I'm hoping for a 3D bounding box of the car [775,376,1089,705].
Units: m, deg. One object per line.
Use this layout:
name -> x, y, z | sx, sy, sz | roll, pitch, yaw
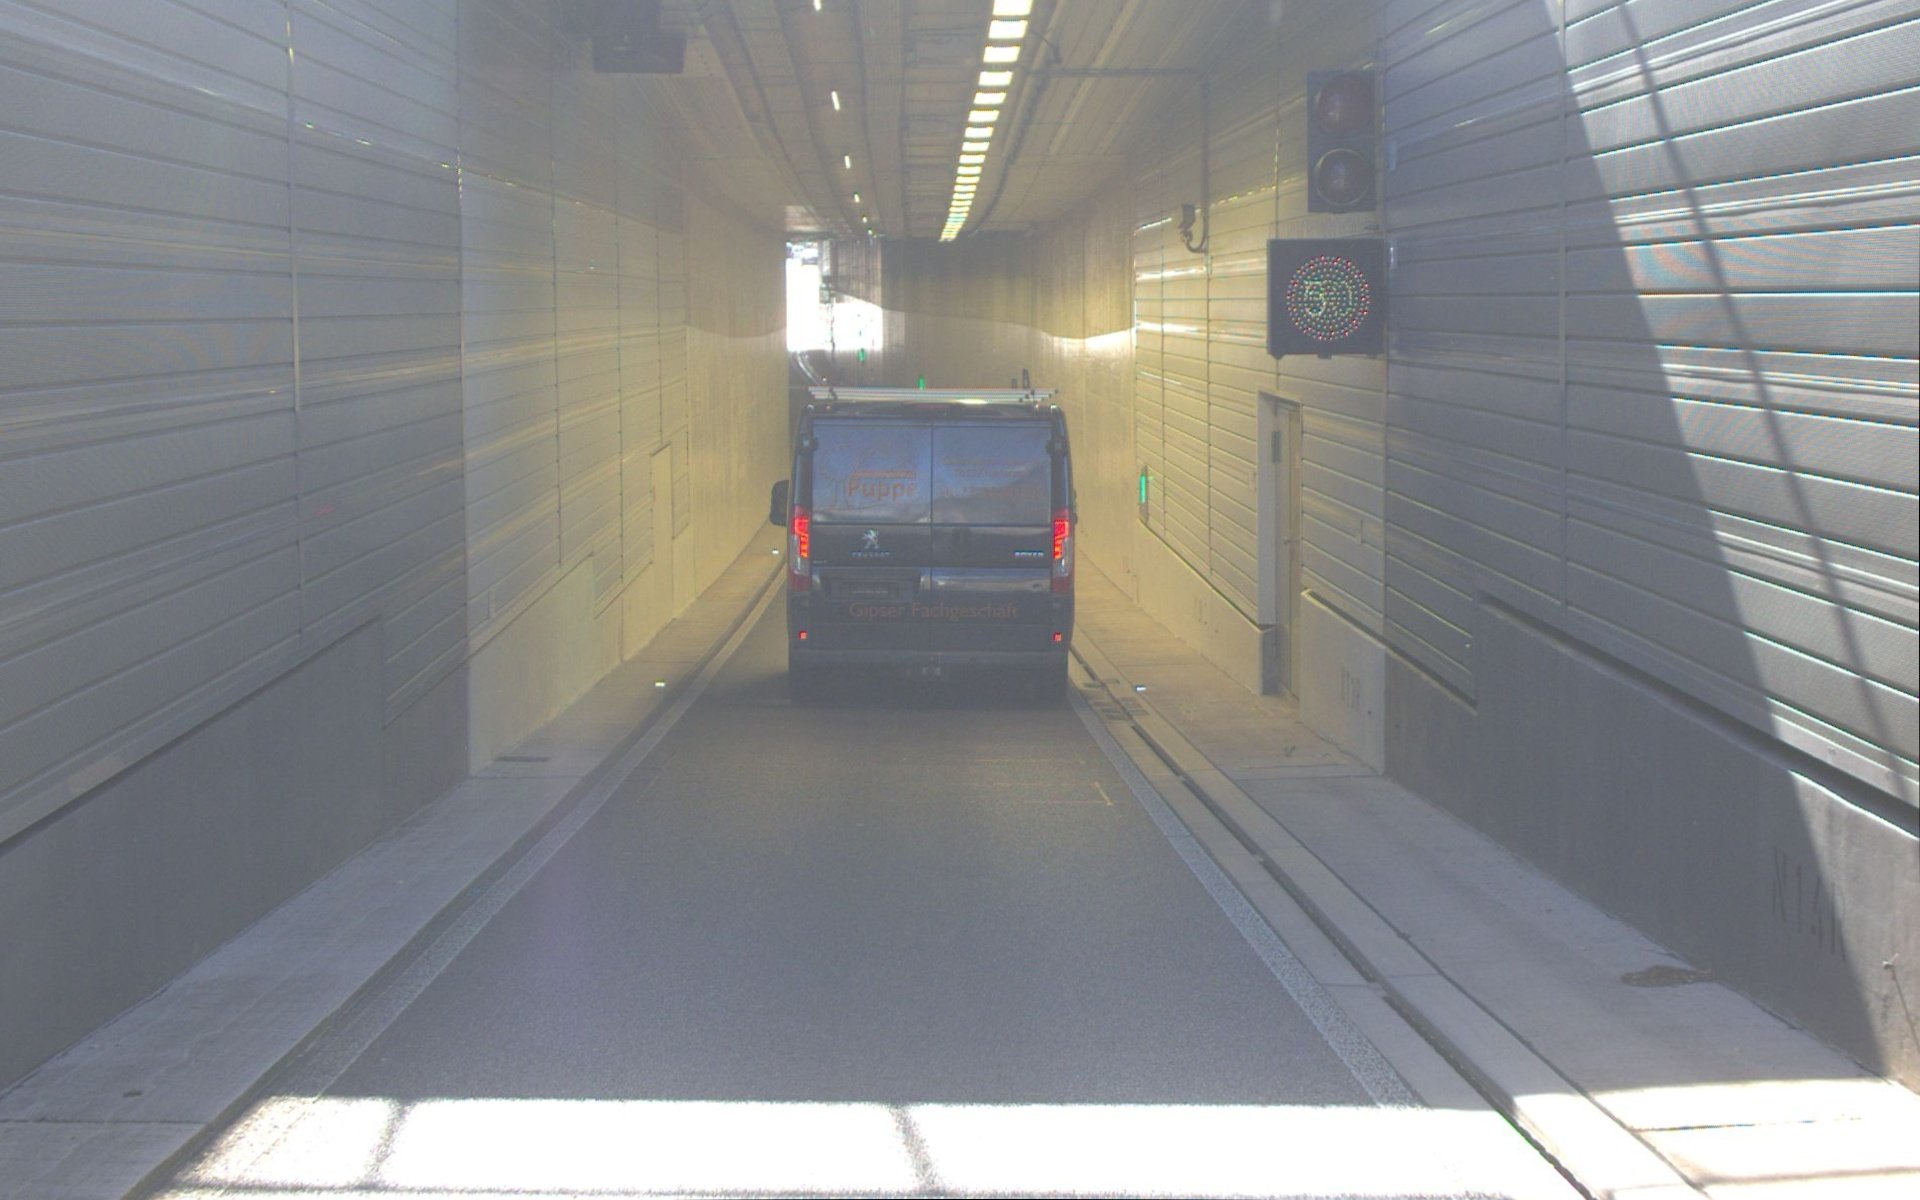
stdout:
car -> -0.216, -0.522, 26.102 | 2.158, 2.258, 4.637 | 0, 3, 0
